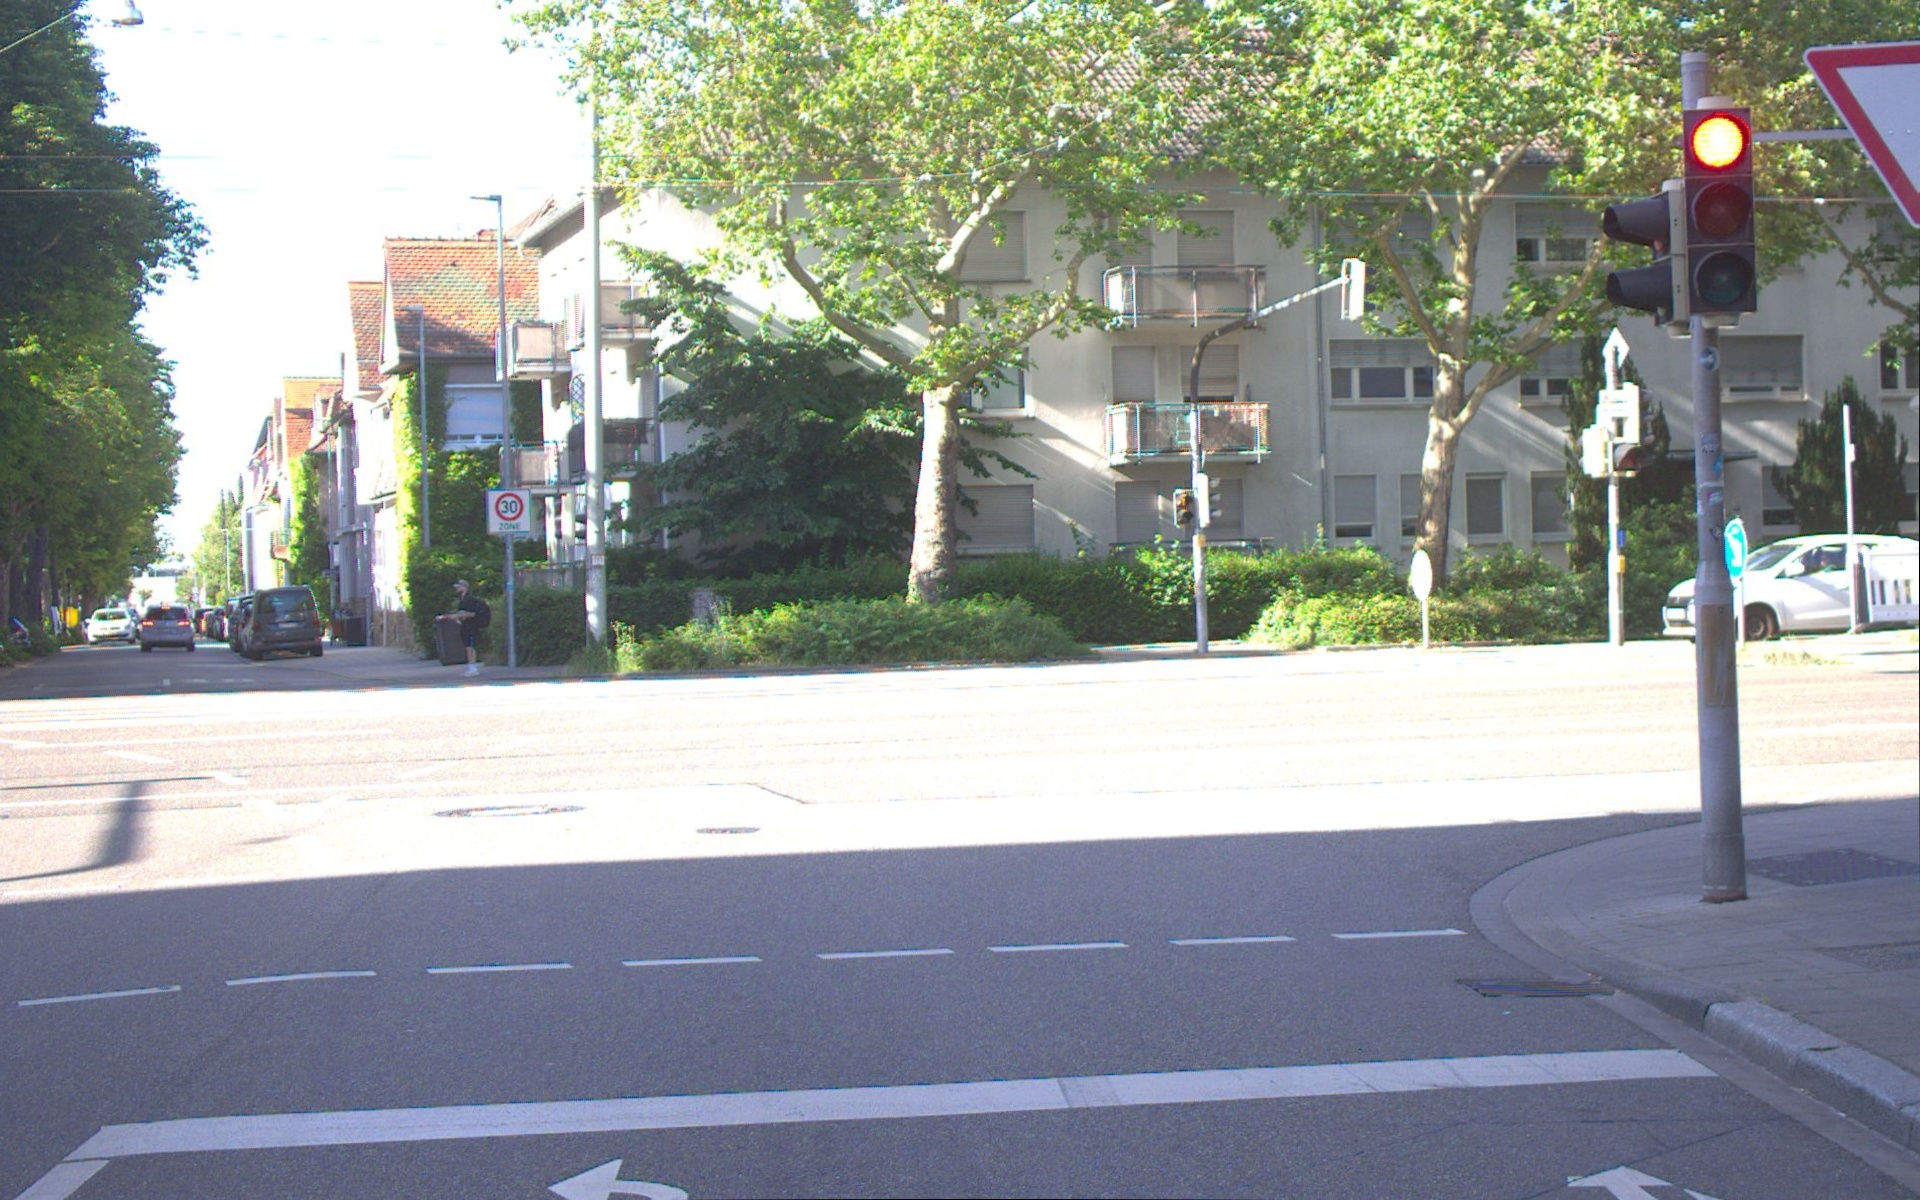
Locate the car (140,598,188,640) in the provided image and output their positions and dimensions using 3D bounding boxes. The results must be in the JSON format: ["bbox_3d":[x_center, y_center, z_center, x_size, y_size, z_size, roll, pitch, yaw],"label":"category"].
[{"bbox_3d":[-28.845,0.689,124.557,1.673,1.477,3.523,-1,0,-13],"label":"car"}]

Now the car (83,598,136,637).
[{"bbox_3d":[-34.546,0.685,139.615,1.993,1.441,4.001,-2,1,-15],"label":"car"}]

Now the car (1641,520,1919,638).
[{"bbox_3d":[11.405,-0.302,46.879,3.786,1.467,1.630,-2,1,-14],"label":"car"}]

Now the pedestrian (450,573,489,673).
[{"bbox_3d":[-8.685,0.407,60.854,0.633,1.744,0.659,-1,0,-4],"label":"pedestrian"}]

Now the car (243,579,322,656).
[{"bbox_3d":[-18.742,0.458,95.221,1.993,2.007,4.001,-2,1,-10],"label":"car"}]

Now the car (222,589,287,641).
[{"bbox_3d":[-25.846,0.546,125.879,1.993,1.826,4.001,-1,0,-16],"label":"car"}]
